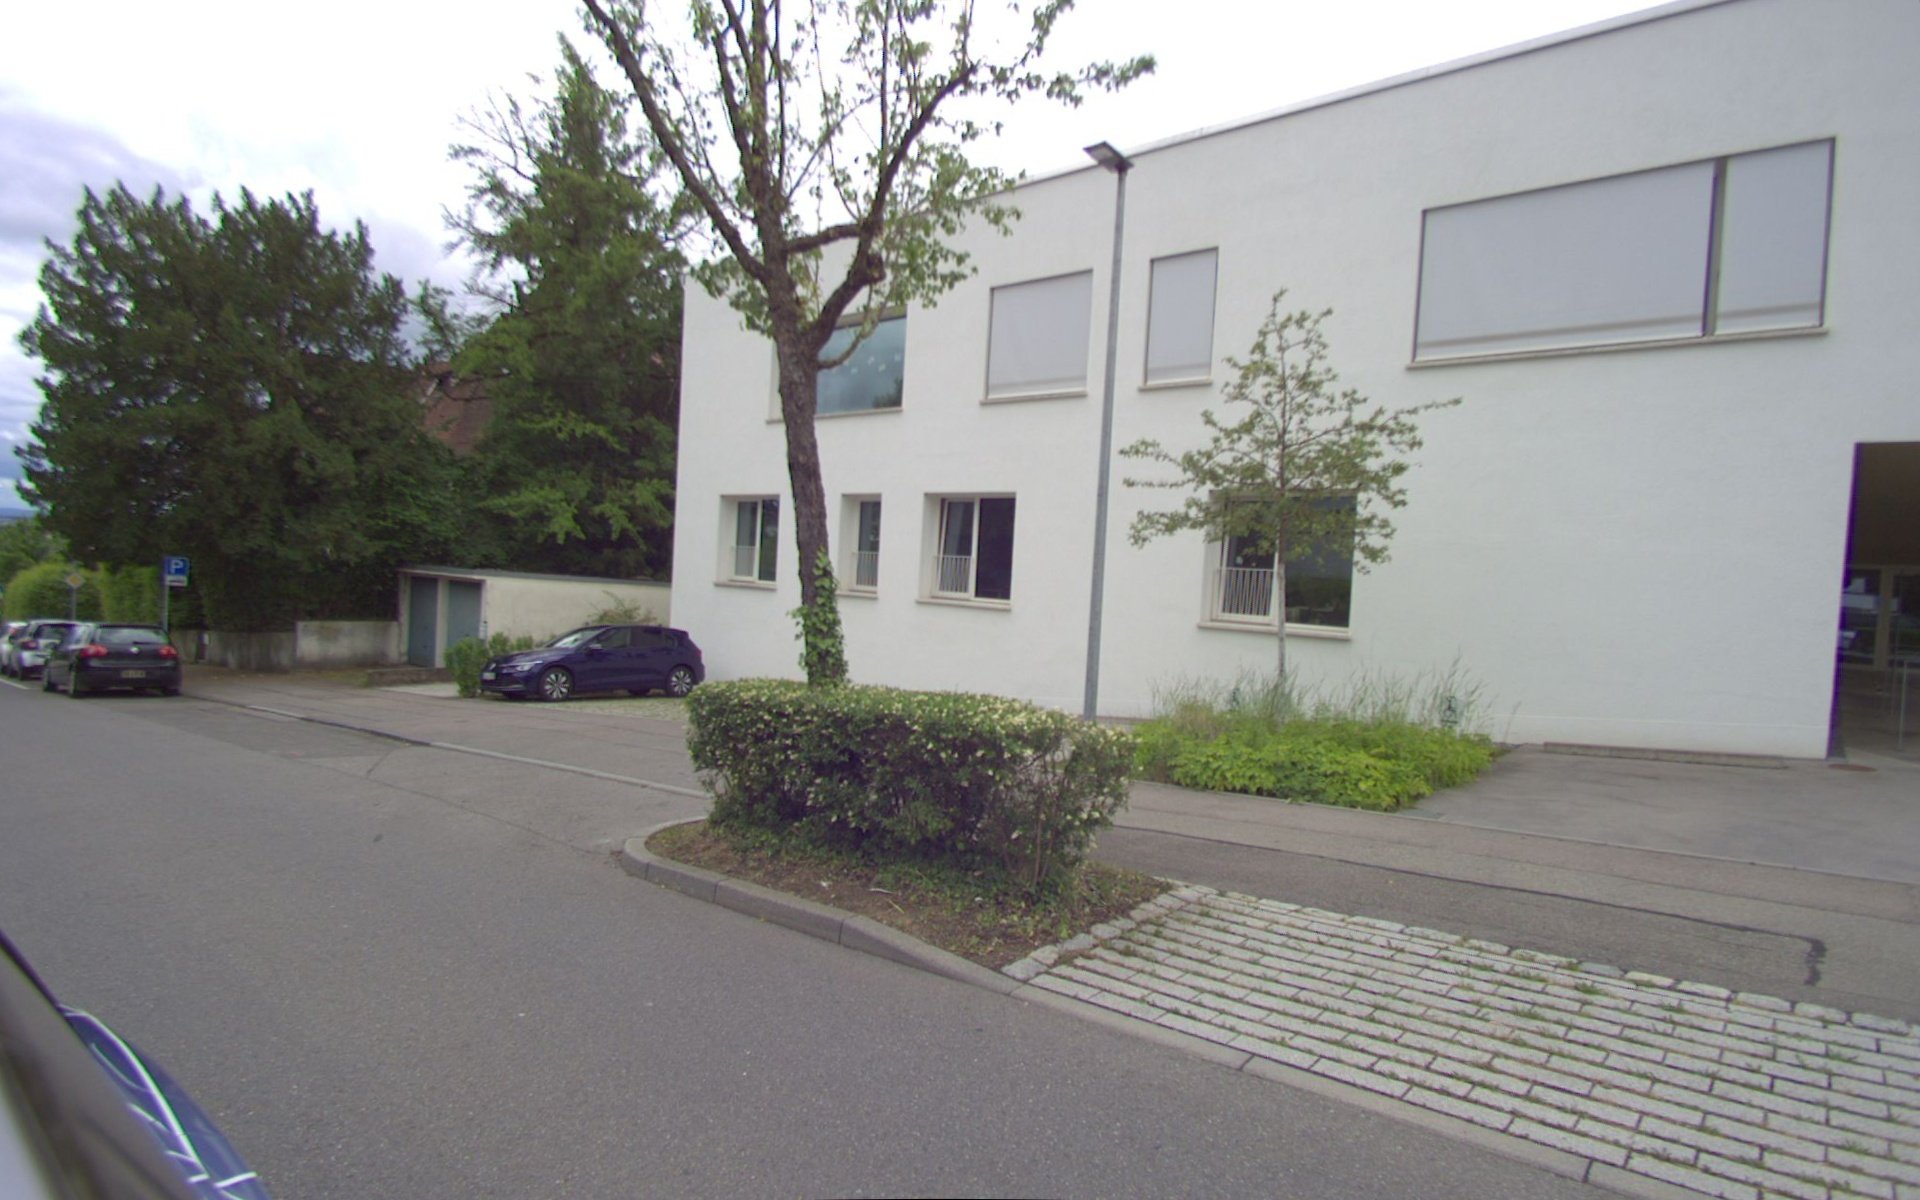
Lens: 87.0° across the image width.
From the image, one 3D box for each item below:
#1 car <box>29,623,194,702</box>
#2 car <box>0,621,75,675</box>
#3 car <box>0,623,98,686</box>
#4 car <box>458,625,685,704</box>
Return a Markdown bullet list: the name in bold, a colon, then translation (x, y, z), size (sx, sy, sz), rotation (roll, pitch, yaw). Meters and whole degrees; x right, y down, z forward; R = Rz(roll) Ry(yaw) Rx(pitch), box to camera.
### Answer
- **car**: translation (-17.952, 1.244, 21.332), size (4.678, 1.481, 1.832), rotation (-1, -3, 40)
- **car**: translation (-26.857, 1.383, 29.063), size (3.513, 1.459, 1.726), rotation (-3, -5, 42)
- **car**: translation (-23.891, 1.374, 26.447), size (2.973, 1.530, 1.607), rotation (-1, -2, 40)
- **car**: translation (-7.354, 1.160, 19.460), size (1.738, 1.364, 3.761), rotation (-1, -2, 35)
